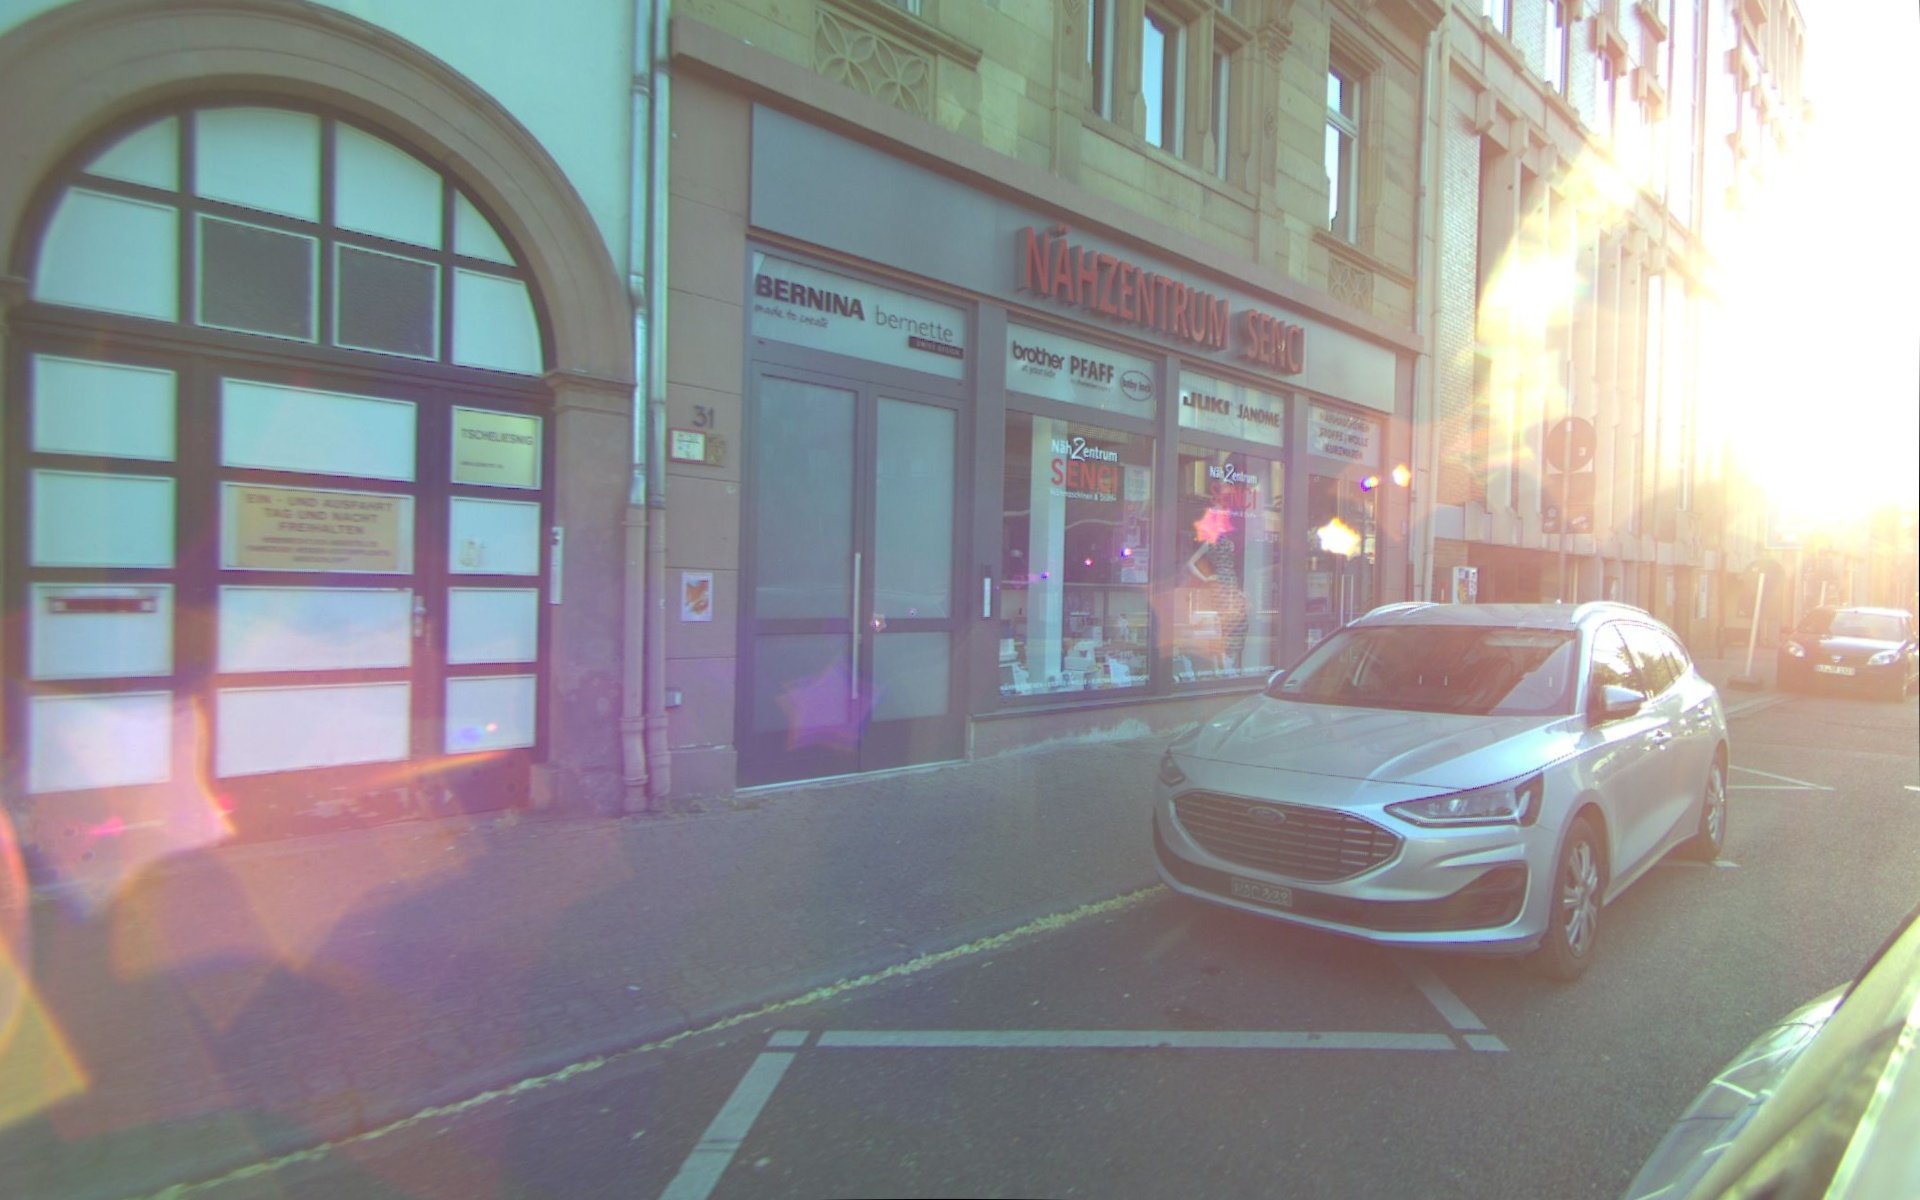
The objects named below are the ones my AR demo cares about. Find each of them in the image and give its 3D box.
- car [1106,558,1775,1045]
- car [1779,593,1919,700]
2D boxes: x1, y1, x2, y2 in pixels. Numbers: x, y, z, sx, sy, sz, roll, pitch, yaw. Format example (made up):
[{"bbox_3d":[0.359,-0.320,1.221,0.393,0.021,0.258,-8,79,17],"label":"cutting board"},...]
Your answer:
[{"bbox_3d":[2.960,0.633,5.532,4.742,1.556,1.760,0,0,-44],"label":"car"},{"bbox_3d":[16.108,0.739,17.910,3.930,1.555,1.763,1,4,-41],"label":"car"}]
